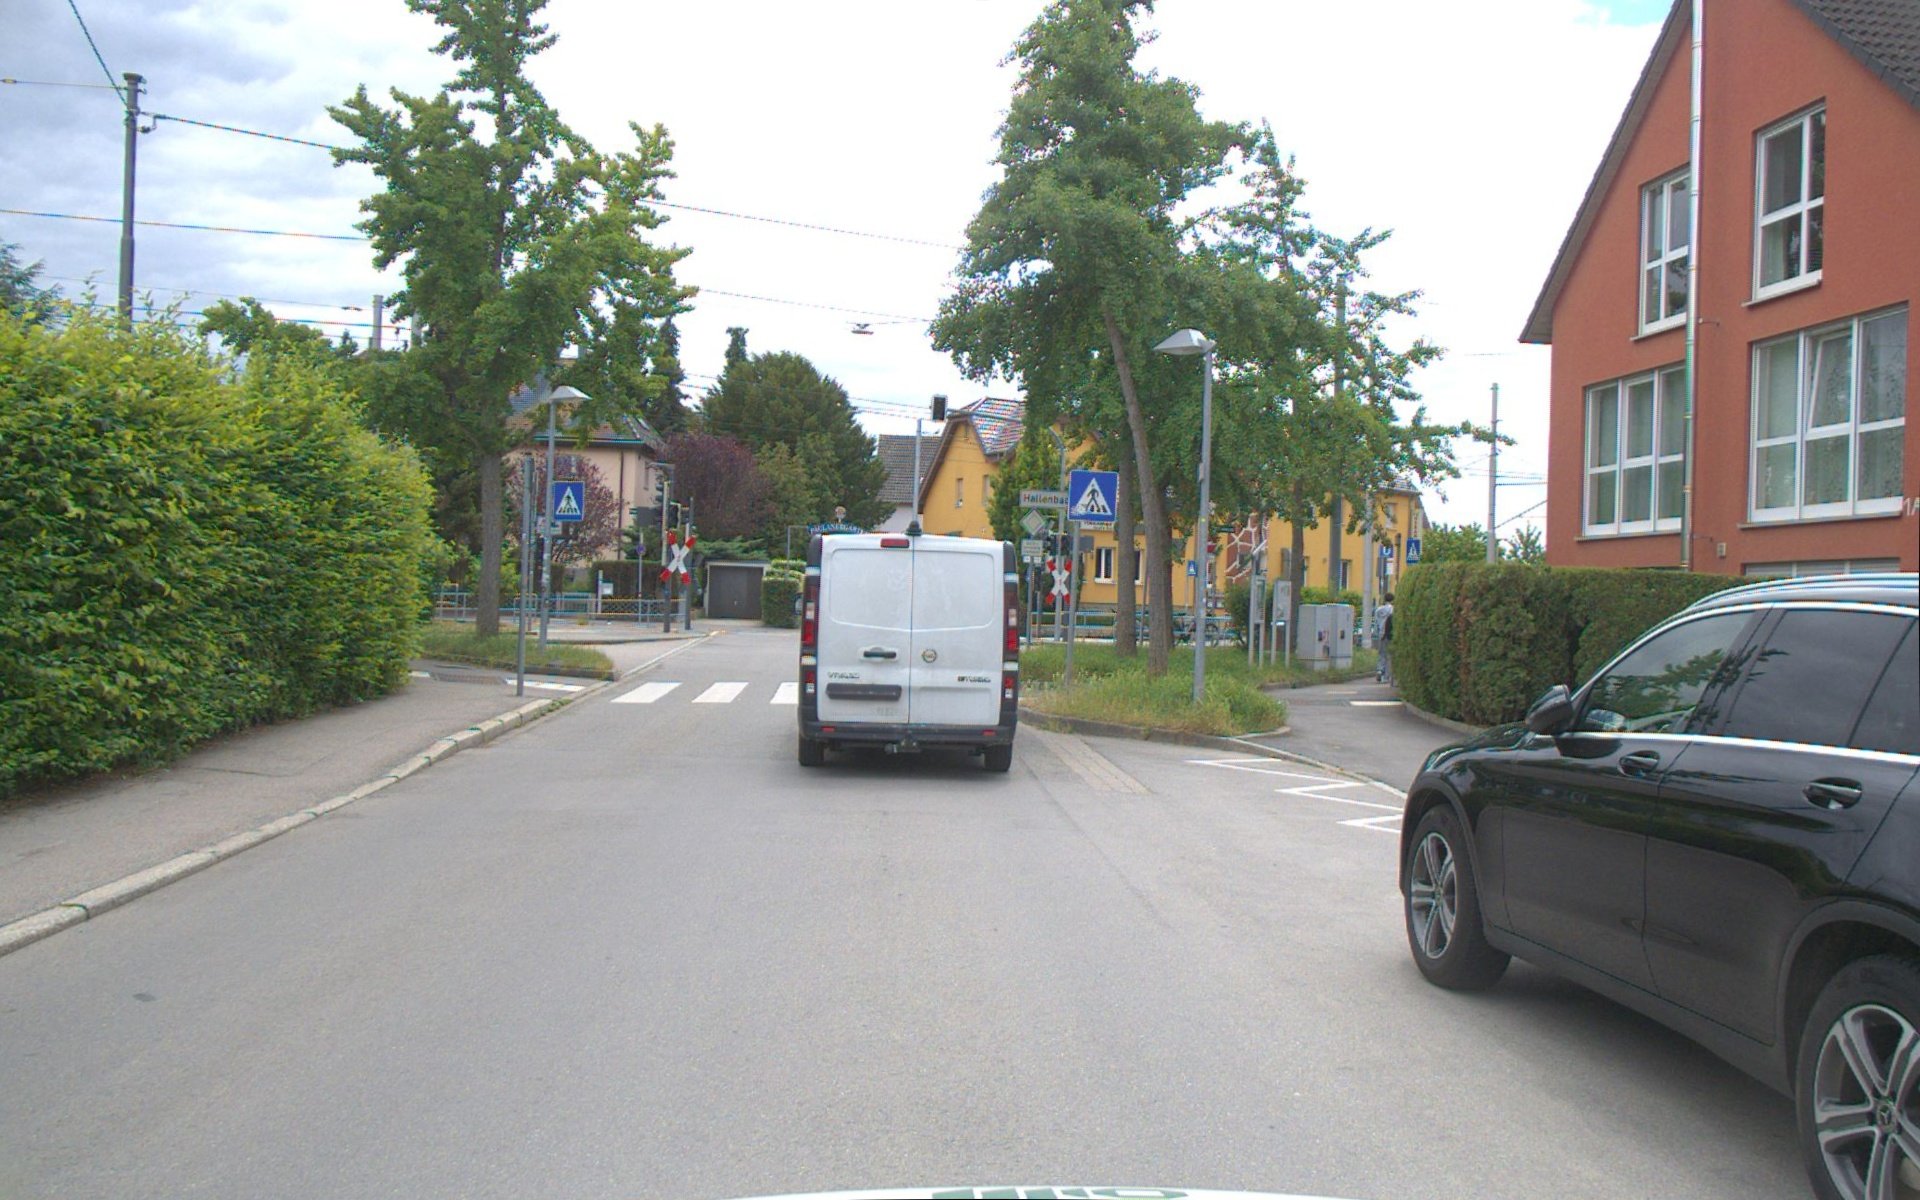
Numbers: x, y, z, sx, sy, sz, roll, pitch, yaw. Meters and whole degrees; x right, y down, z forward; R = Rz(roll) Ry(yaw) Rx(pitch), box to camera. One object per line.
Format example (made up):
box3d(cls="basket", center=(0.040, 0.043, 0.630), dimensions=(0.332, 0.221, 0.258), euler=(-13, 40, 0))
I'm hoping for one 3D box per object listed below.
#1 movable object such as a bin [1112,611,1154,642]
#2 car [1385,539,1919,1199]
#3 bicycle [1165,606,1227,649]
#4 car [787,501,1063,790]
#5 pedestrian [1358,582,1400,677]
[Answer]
box3d(cls="movable object such as a bin", center=(4.876, 0.751, 46.609), dimensions=(1.070, 0.839, 0.578), euler=(2, 0, -8))
box3d(cls="car", center=(2.998, 0.727, 5.156), dimensions=(1.811, 1.665, 4.461), euler=(3, 0, -5))
box3d(cls="bicycle", center=(6.679, 0.782, 46.810), dimensions=(1.657, 1.176, 0.465), euler=(2, -1, -12))
box3d(cls="car", center=(-0.494, 0.345, 15.648), dimensions=(2.076, 2.171, 5.435), euler=(2, 0, -5))
box3d(cls="pedestrian", center=(8.787, 0.605, 34.649), dimensions=(0.612, 1.948, 0.829), euler=(1, 0, 33))
